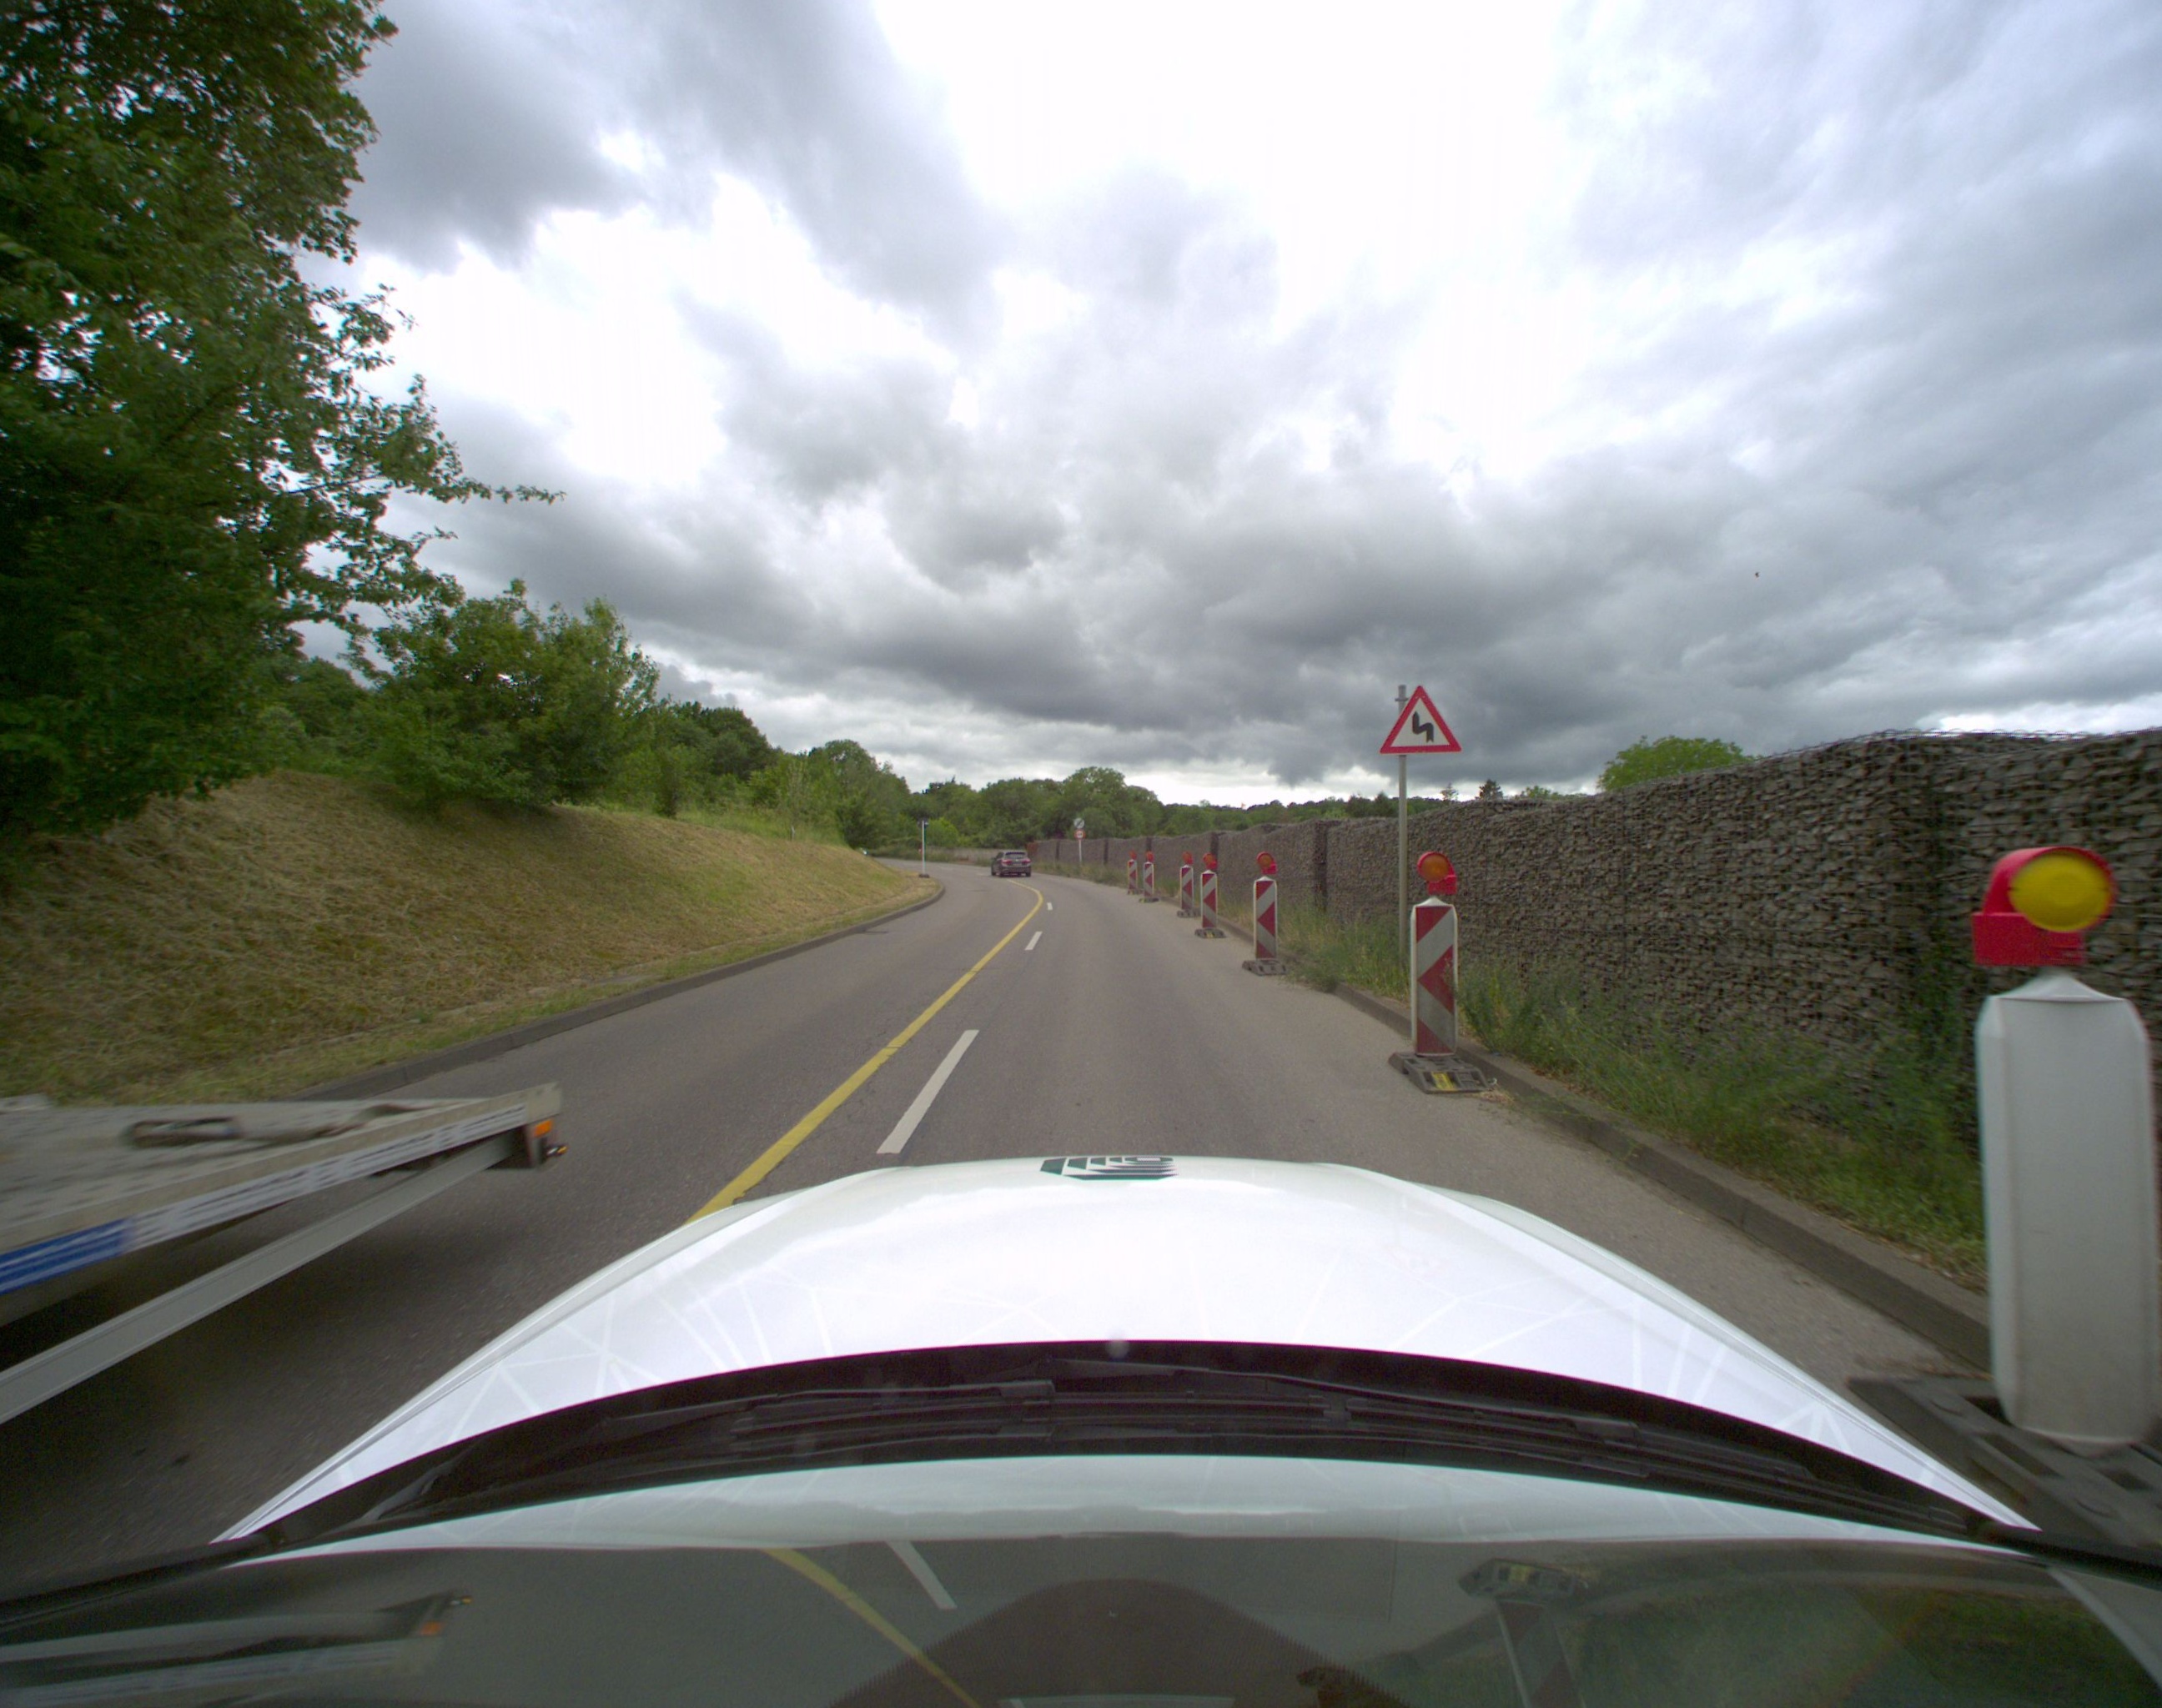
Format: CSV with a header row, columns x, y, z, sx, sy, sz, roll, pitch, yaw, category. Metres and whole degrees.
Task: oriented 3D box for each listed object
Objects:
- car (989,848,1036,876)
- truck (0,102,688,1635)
x,y,z,sx,sy,sz,roll,pitch,yaw,category
-3.991,0.425,46.994,1.844,1.483,3.977,-1,1,-18,car
-3.263,0.031,0.368,2.207,3.015,7.742,-1,0,1,truck
